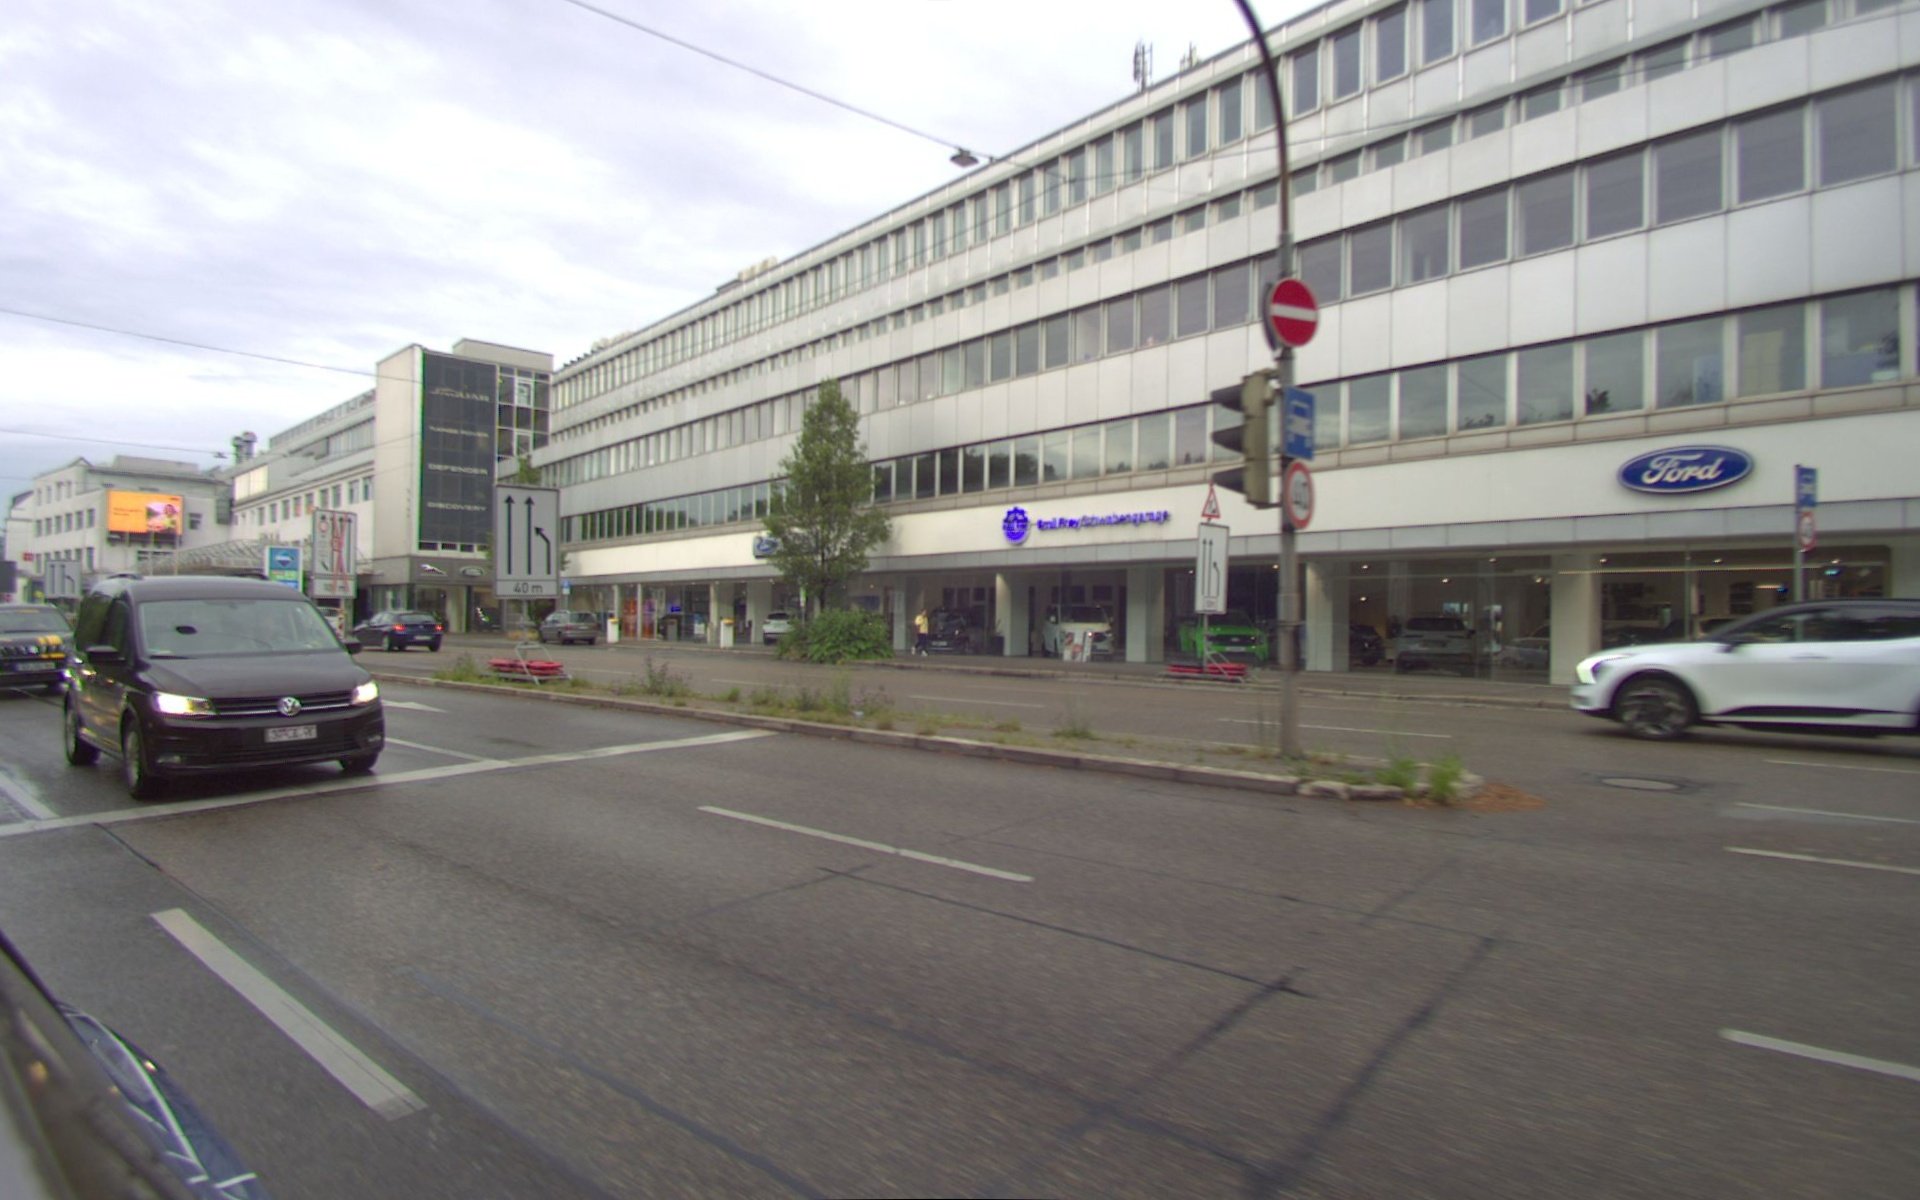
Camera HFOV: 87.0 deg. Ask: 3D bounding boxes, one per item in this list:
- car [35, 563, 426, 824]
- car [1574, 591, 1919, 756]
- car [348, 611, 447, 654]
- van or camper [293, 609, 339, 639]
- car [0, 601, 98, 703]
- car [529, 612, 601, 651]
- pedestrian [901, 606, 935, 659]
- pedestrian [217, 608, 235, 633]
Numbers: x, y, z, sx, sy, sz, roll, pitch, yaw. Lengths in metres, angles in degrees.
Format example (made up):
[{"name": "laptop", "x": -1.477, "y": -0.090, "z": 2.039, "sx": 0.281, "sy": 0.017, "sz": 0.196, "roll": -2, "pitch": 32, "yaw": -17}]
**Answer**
[{"name": "car", "x": -6.821, "y": 0.651, "z": 9.274, "sx": 4.427, "sy": 1.828, "sz": 1.881, "roll": -1, "pitch": 1, "yaw": 41}, {"name": "car", "x": 9.526, "y": 0.755, "z": 11.165, "sx": 4.455, "sy": 1.622, "sz": 1.869, "roll": -1, "pitch": -2, "yaw": 42}, {"name": "car", "x": -19.865, "y": 1.130, "z": 35.680, "sx": 4.211, "sy": 1.430, "sz": 1.668, "roll": -1, "pitch": -2, "yaw": 40}, {"name": "van or camper", "x": -45.850, "y": 1.684, "z": 72.004, "sx": 1.902, "sy": 1.944, "sz": 4.258, "roll": -2, "pitch": 1, "yaw": -44}, {"name": "car", "x": -16.893, "y": 0.864, "z": 17.919, "sx": 4.330, "sy": 1.611, "sz": 1.791, "roll": -1, "pitch": 1, "yaw": 41}, {"name": "car", "x": -20.510, "y": 1.585, "z": 52.440, "sx": 4.167, "sy": 1.829, "sz": 1.896, "roll": -1, "pitch": 1, "yaw": 45}, {"name": "pedestrian", "x": -1.468, "y": 1.103, "z": 35.074, "sx": 0.751, "sy": 1.788, "sz": 0.864, "roll": -2, "pitch": 1, "yaw": -44}, {"name": "pedestrian", "x": -54.250, "y": 1.511, "z": 74.830, "sx": 0.941, "sy": 1.828, "sz": 0.883, "roll": -1, "pitch": 1, "yaw": 43}]
